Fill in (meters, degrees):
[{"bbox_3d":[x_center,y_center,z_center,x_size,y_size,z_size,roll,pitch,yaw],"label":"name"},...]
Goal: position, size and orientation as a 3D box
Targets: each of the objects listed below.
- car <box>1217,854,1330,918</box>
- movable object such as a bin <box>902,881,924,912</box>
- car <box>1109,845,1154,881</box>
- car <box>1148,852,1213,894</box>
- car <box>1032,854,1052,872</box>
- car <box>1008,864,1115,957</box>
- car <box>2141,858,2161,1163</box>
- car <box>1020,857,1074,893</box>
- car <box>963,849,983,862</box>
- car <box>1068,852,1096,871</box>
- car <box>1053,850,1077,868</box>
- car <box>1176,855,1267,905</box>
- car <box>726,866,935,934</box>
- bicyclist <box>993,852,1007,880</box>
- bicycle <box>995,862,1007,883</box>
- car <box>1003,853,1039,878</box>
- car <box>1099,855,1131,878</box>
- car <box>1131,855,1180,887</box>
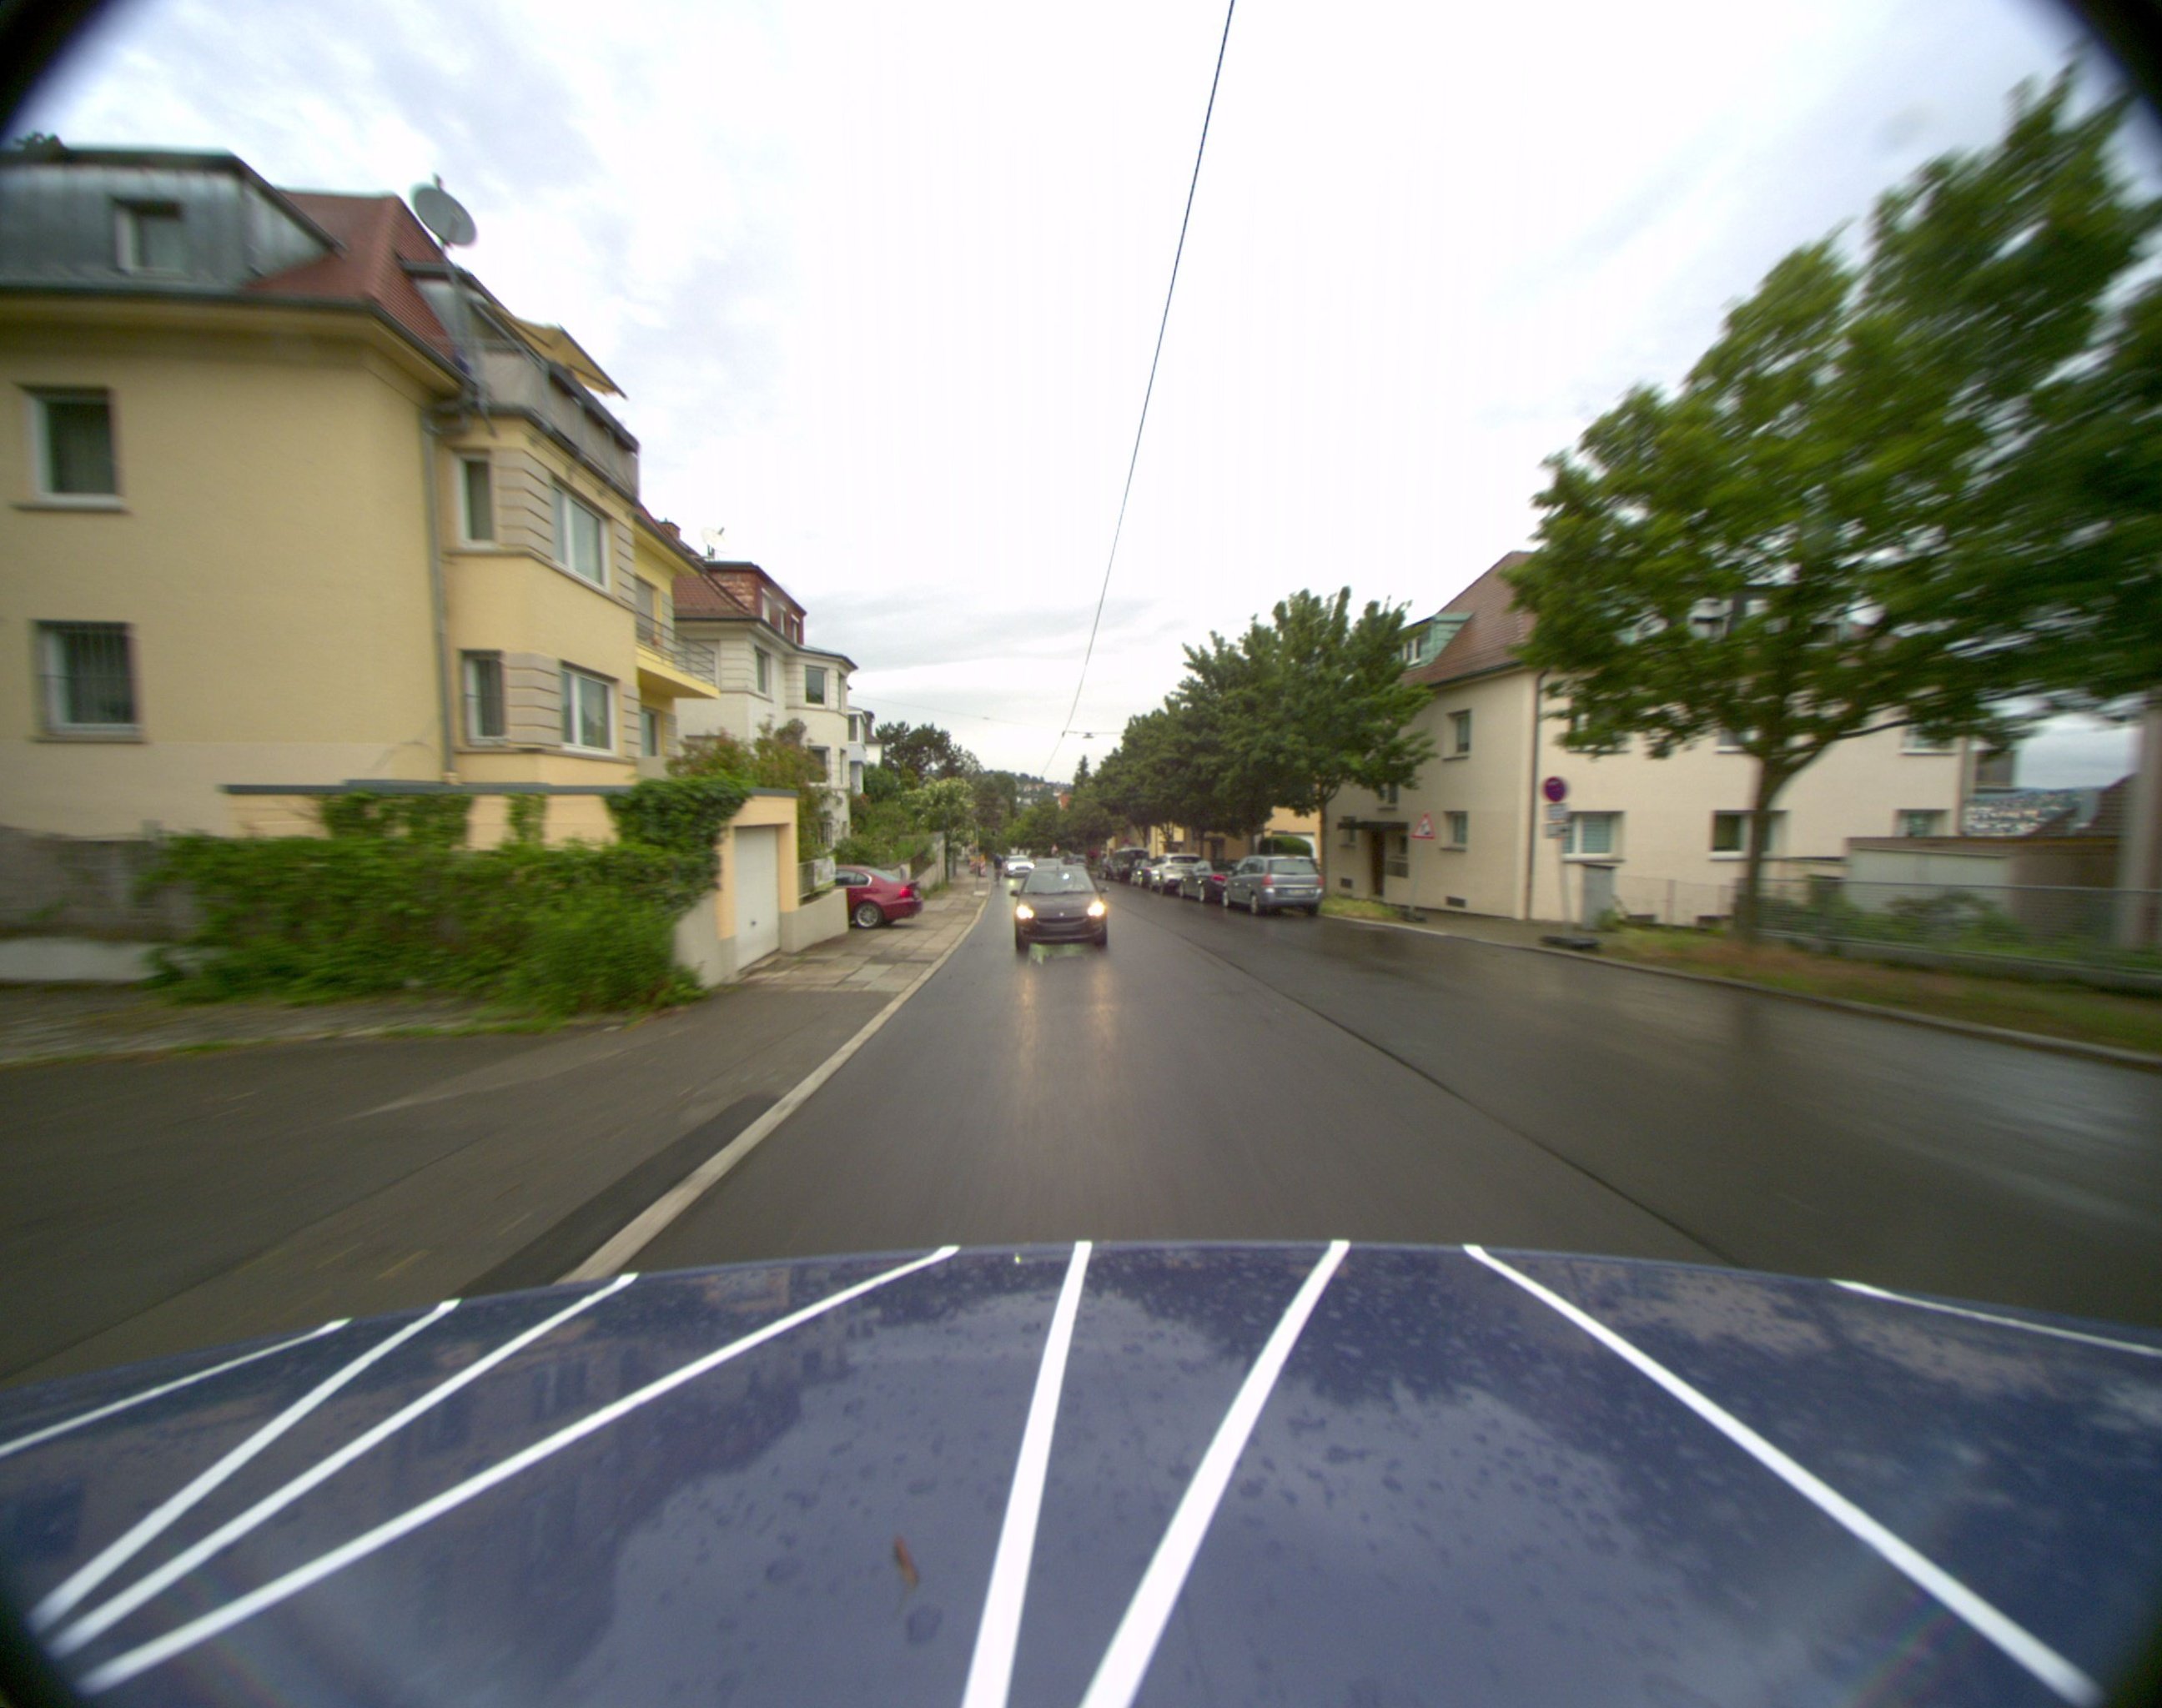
[{"bbox_3d":[5.268,0.813,21.452,1.722,1.537,4.291,1,1,-5],"label":"car"},{"bbox_3d":[-5.221,1.312,23.605,0.570,0.895,0.526,-2,1,-7],"label":"movable object such as a bin"},{"bbox_3d":[2.975,0.492,45.422,1.823,2.000,4.559,2,0,-7],"label":"car"},{"bbox_3d":[4.100,0.754,32.070,1.813,1.604,4.507,1,0,-5],"label":"car"},{"bbox_3d":[-4.489,0.991,88.582,1.998,2.002,4.001,0,0,2],"label":"car"},{"bbox_3d":[-0.417,0.994,15.109,1.747,1.433,4.358,-3,0,-3],"label":"car"},{"bbox_3d":[6.184,0.797,2.353,1.522,1.526,3.035,0,1,-1],"label":"car"},{"bbox_3d":[-1.544,0.934,35.847,1.745,1.434,4.239,-2,1,8],"label":"car"},{"bbox_3d":[-18.544,0.273,130.392,2.002,1.705,3.993,-8,0,-26],"label":"car"},{"bbox_3d":[0.051,0.599,66.120,1.911,1.591,4.086,0,1,-7],"label":"car"},{"bbox_3d":[-1.559,0.447,71.737,1.864,1.563,3.905,0,1,-7],"label":"car"},{"bbox_3d":[4.788,0.839,26.608,1.827,1.500,4.735,0,1,-6],"label":"car"},{"bbox_3d":[-5.642,1.026,17.492,4.181,1.398,1.834,1,0,-1],"label":"car"},{"bbox_3d":[-4.548,0.673,42.720,0.685,1.528,0.784,-3,2,-8],"label":"bicyclist"},{"bbox_3d":[-4.529,1.054,42.737,0.590,1.093,1.527,-2,1,-8],"label":"bicycle"},{"bbox_3d":[-4.616,0.832,57.955,2.020,1.728,4.593,-3,1,-13],"label":"car"},{"bbox_3d":[2.241,0.820,50.674,1.543,1.365,3.537,2,0,-7],"label":"car"},{"bbox_3d":[3.660,0.820,38.099,1.623,1.434,4.265,2,0,-5],"label":"car"}]
